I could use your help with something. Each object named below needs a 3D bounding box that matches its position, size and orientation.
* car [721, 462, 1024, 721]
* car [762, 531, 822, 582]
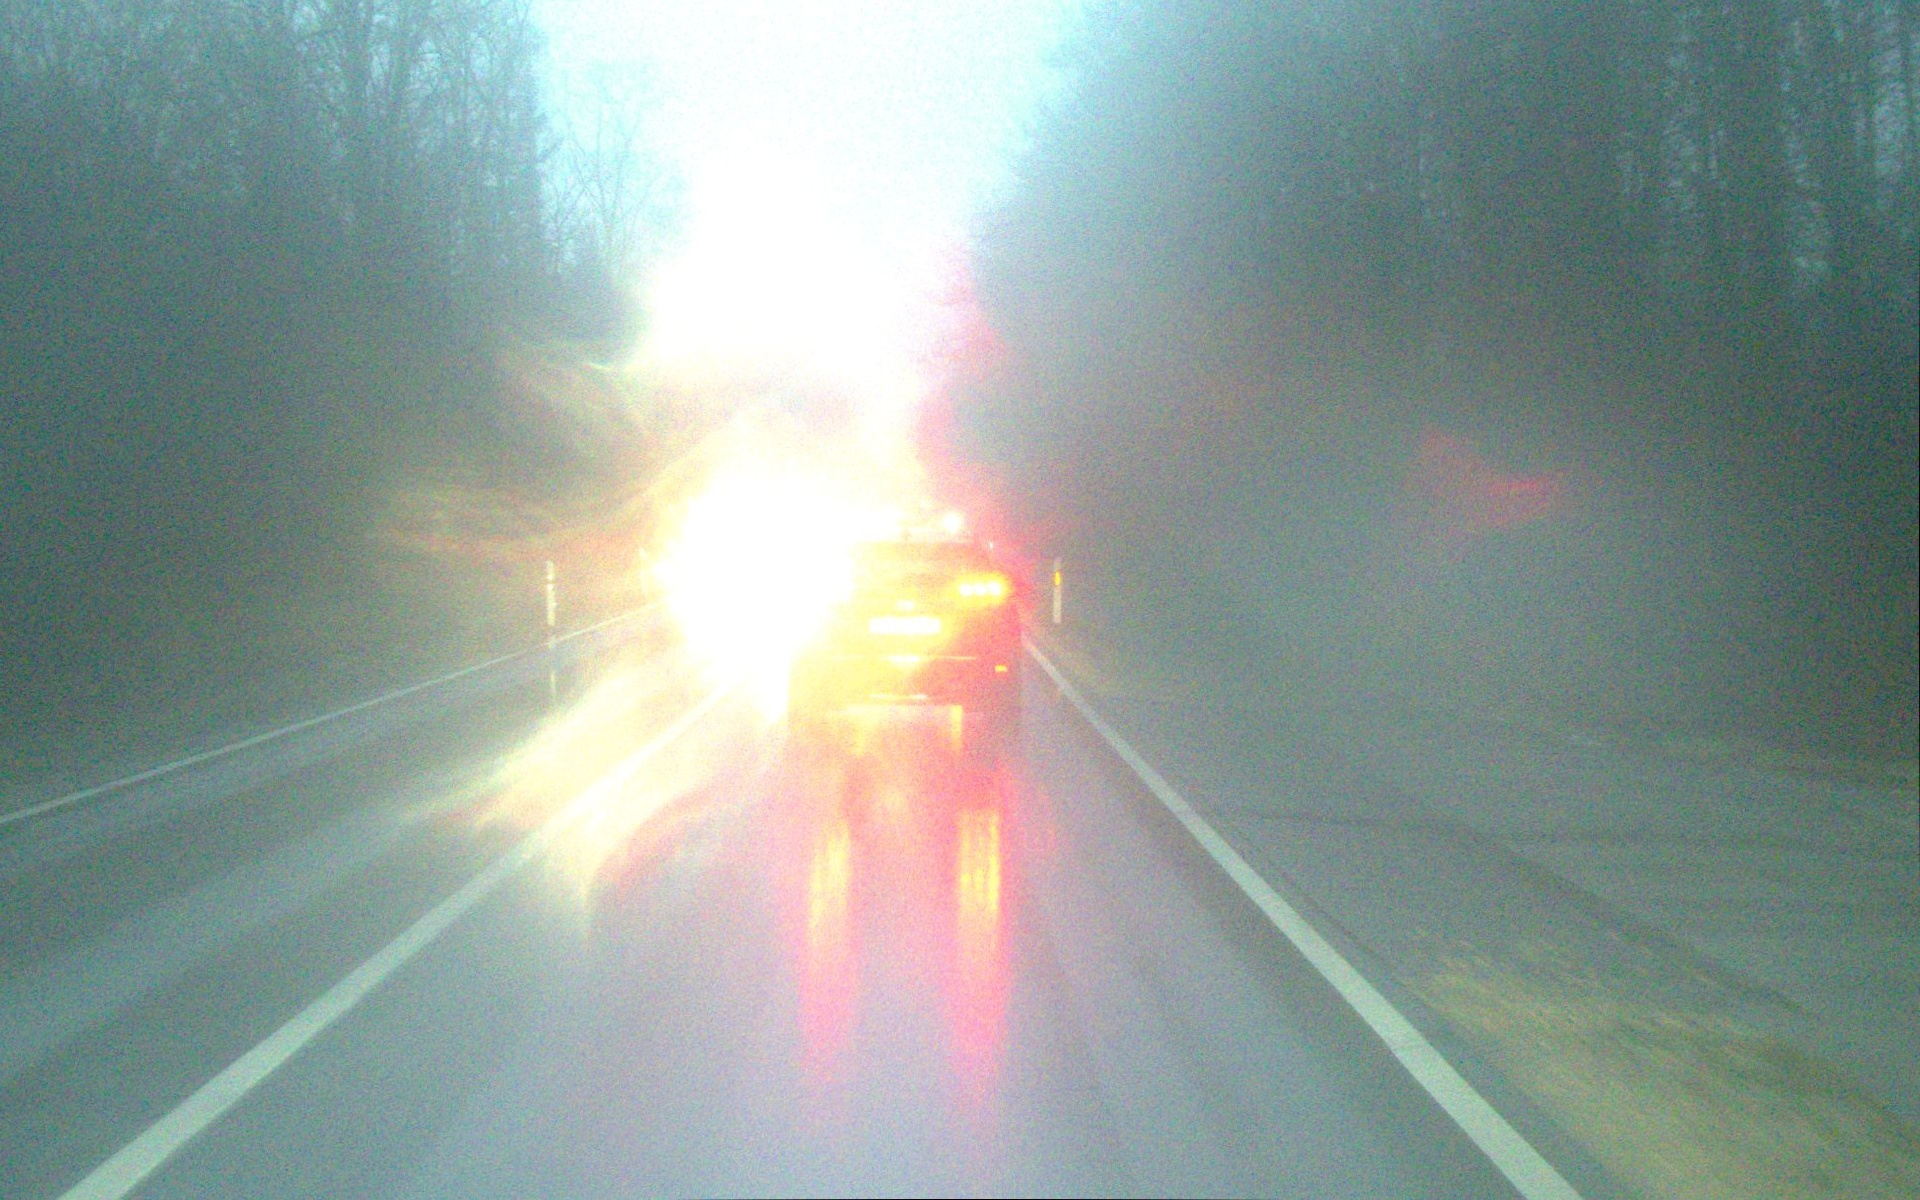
[{"bbox_3d":[-0.690,-0.124,27.586,2.198,1.871,4.827,1,1,-1],"label":"car"},{"bbox_3d":[-5.210,-1.360,106.867,1.598,1.490,3.895,-2,1,0],"label":"car"}]
